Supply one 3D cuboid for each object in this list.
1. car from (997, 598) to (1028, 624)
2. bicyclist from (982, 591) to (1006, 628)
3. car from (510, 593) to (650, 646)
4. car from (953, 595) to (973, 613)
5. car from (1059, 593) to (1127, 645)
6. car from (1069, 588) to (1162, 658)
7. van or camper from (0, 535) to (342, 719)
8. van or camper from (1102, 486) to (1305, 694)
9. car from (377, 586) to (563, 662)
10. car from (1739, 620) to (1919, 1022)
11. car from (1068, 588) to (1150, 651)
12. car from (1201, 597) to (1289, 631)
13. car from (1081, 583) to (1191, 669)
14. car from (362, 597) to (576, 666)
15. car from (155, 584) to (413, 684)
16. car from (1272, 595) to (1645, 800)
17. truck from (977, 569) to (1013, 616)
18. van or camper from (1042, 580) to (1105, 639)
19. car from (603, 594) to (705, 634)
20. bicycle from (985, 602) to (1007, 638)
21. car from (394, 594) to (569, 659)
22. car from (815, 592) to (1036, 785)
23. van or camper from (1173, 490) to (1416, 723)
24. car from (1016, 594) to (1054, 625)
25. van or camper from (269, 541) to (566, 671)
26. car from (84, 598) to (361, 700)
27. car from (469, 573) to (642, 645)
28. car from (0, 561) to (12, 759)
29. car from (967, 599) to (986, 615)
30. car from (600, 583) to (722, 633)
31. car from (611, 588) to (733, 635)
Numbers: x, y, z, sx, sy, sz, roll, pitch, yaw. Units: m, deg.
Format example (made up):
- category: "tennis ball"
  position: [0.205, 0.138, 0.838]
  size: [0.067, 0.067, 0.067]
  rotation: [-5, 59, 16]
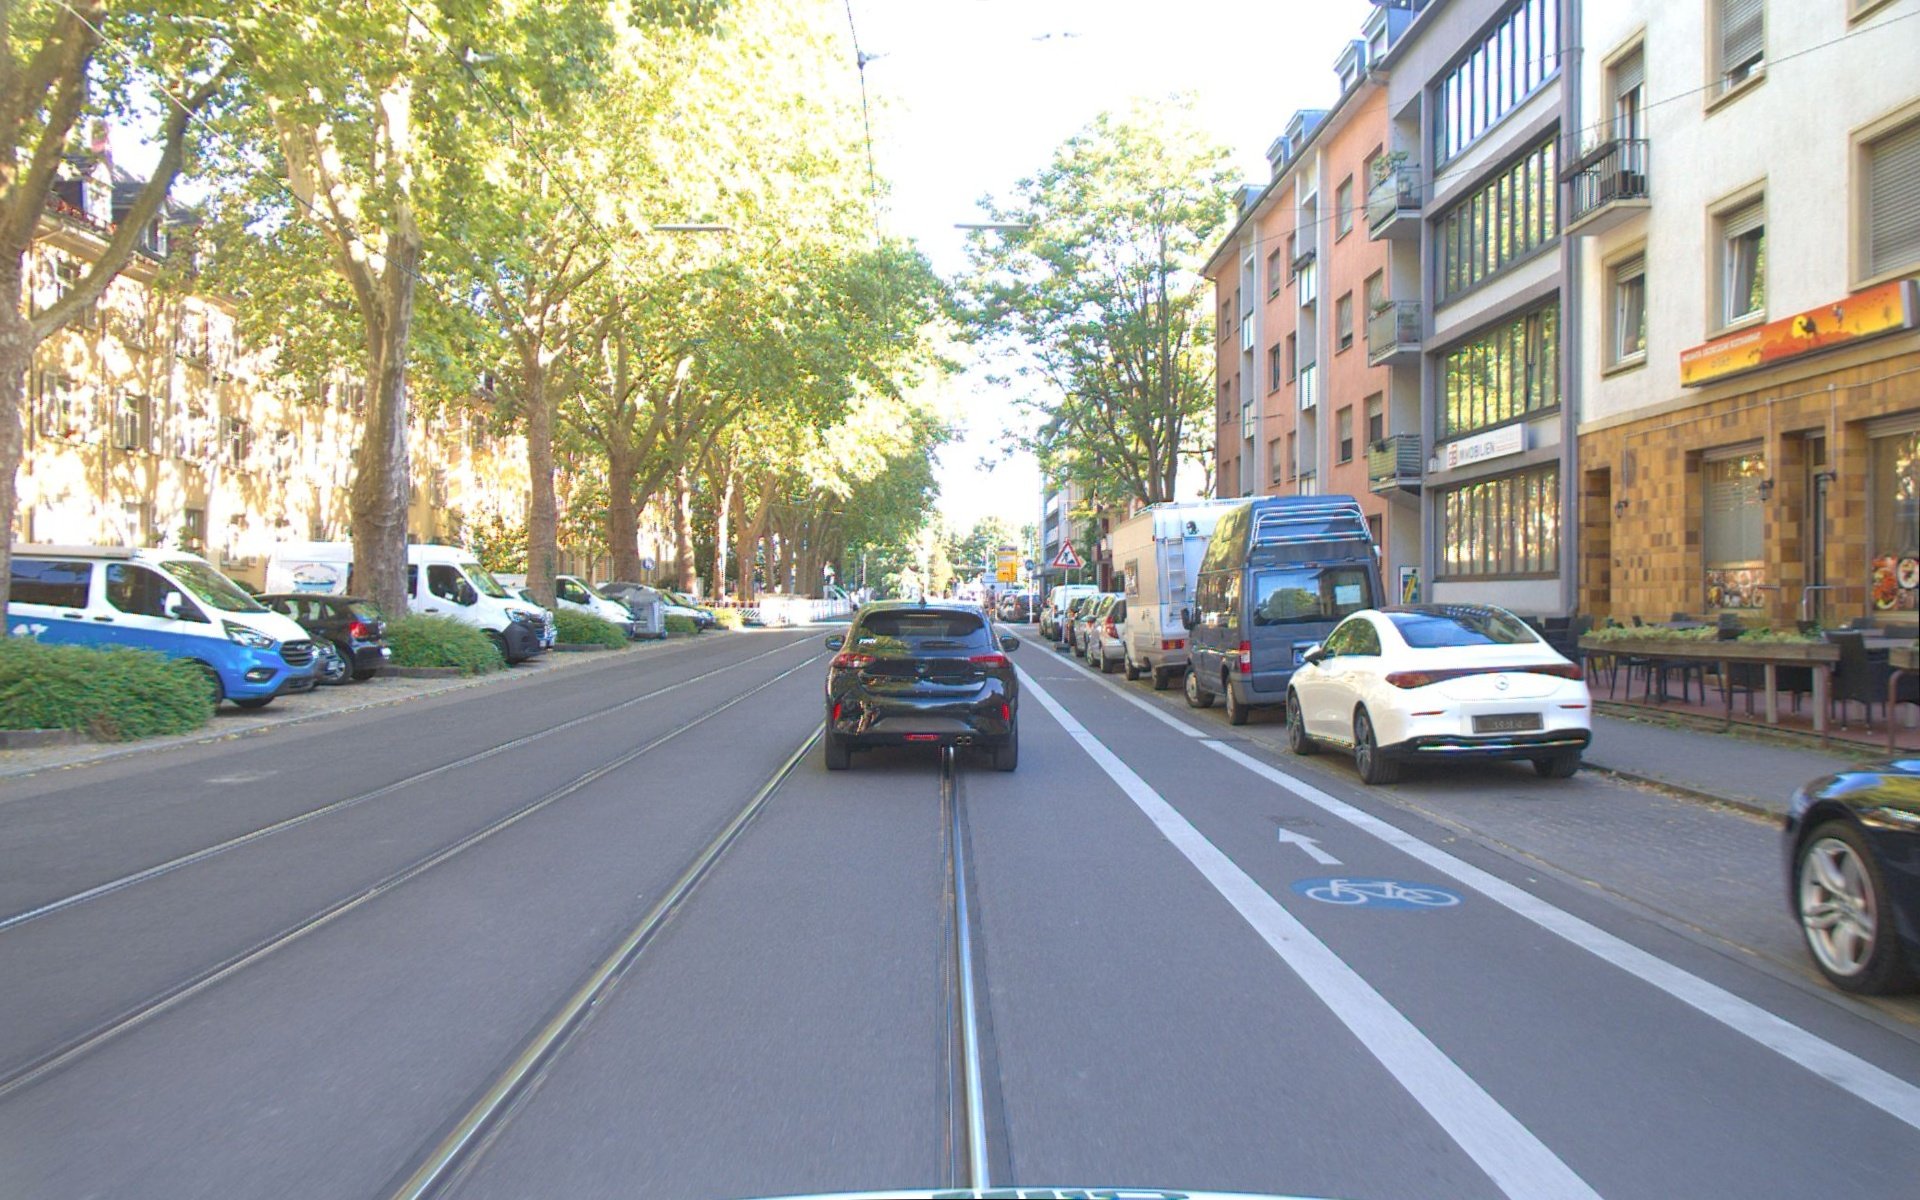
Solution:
- category: "car"
  position: [3.131, 0.652, 99.407]
  size: [1.625, 1.424, 4.739]
  rotation: [-2, 0, -1]
- category: "bicyclist"
  position: [1.549, 0.446, 75.750]
  size: [1.067, 1.676, 1.400]
  rotation: [0, 0, 0]
- category: "car"
  position: [-11.448, 0.575, 49.989]
  size: [3.769, 1.524, 1.862]
  rotation: [-1, 0, -1]
- category: "car"
  position: [0.325, 0.402, 172.537]
  size: [1.953, 1.725, 4.739]
  rotation: [-2, 0, -1]
- category: "car"
  position: [4.017, 0.537, 50.536]
  size: [1.671, 1.498, 4.167]
  rotation: [-1, 0, -1]
- category: "car"
  position: [3.722, 0.531, 40.252]
  size: [1.752, 1.548, 4.321]
  rotation: [-2, 0, -1]
- category: "van or camper"
  position: [-10.689, 0.331, 21.223]
  size: [4.725, 2.228, 2.117]
  rotation: [0, 0, -5]
- category: "van or camper"
  position: [4.050, -0.167, 28.768]
  size: [2.412, 3.117, 6.267]
  rotation: [-2, 0, -1]
- category: "car"
  position: [-11.380, 0.539, 38.584]
  size: [3.769, 1.692, 1.862]
  rotation: [-1, 0, -1]
- category: "car"
  position: [4.443, 0.792, 4.881]
  size: [1.953, 1.404, 4.739]
  rotation: [-2, 0, -1]
- category: "car"
  position: [4.039, 0.501, 45.458]
  size: [1.732, 1.599, 4.336]
  rotation: [-2, 0, -1]
- category: "car"
  position: [13.387, 0.665, 77.797]
  size: [3.834, 1.508, 1.561]
  rotation: [0, 3, -2]
- category: "car"
  position: [3.679, 0.508, 35.166]
  size: [1.756, 1.656, 4.275]
  rotation: [-2, 0, -1]
- category: "car"
  position: [-10.761, 0.684, 36.453]
  size: [4.177, 1.423, 1.753]
  rotation: [-1, 0, -1]
- category: "car"
  position: [-11.187, 0.547, 27.524]
  size: [3.605, 1.592, 1.613]
  rotation: [0, 0, 2]
- category: "car"
  position: [4.337, 0.749, 15.266]
  size: [1.953, 1.519, 4.739]
  rotation: [-2, 0, 0]
- category: "truck"
  position: [2.662, -0.519, 127.545]
  size: [2.486, 3.396, 7.194]
  rotation: [-3, 0, 0]
- category: "van or camper"
  position: [3.809, 0.295, 56.173]
  size: [1.719, 1.897, 4.829]
  rotation: [-1, 0, -1]
- category: "car"
  position: [-12.323, 0.557, 66.780]
  size: [3.769, 1.524, 1.862]
  rotation: [-1, 0, -1]
- category: "bicycle"
  position: [1.640, 0.884, 75.812]
  size: [0.897, 1.588, 3.404]
  rotation: [0, 0, 0]
- category: "car"
  position: [-11.780, 0.634, 40.900]
  size: [3.769, 1.524, 1.862]
  rotation: [-1, 0, -1]
- category: "car"
  position: [-0.307, 0.695, 15.131]
  size: [1.745, 1.522, 3.999]
  rotation: [0, 0, -1]
- category: "van or camper"
  position: [4.322, 0.070, 22.268]
  size: [2.089, 2.709, 4.978]
  rotation: [-2, 0, -1]
- category: "car"
  position: [3.883, 0.471, 86.015]
  size: [1.698, 1.487, 3.915]
  rotation: [-2, 0, -1]
- category: "van or camper"
  position: [-11.088, 0.112, 34.152]
  size: [5.278, 2.560, 2.445]
  rotation: [0, 0, 1]
- category: "car"
  position: [-11.092, 0.723, 25.064]
  size: [3.463, 1.485, 1.694]
  rotation: [0, 0, -7]
- category: "car"
  position: [-11.464, 0.255, 47.191]
  size: [4.568, 1.979, 1.959]
  rotation: [0, 0, -7]
- category: "car"
  position: [-10.735, 0.553, 14.700]
  size: [3.607, 1.846, 1.704]
  rotation: [0, 0, -1]
- category: "car"
  position: [1.817, 0.761, 182.380]
  size: [1.953, 1.725, 4.739]
  rotation: [-2, 0, -1]
- category: "car"
  position: [-10.877, 0.291, 60.381]
  size: [4.112, 1.788, 1.740]
  rotation: [0, 0, 0]
- category: "car"
  position: [-10.867, 0.426, 62.615]
  size: [4.144, 1.717, 1.934]
  rotation: [-1, 0, 6]
